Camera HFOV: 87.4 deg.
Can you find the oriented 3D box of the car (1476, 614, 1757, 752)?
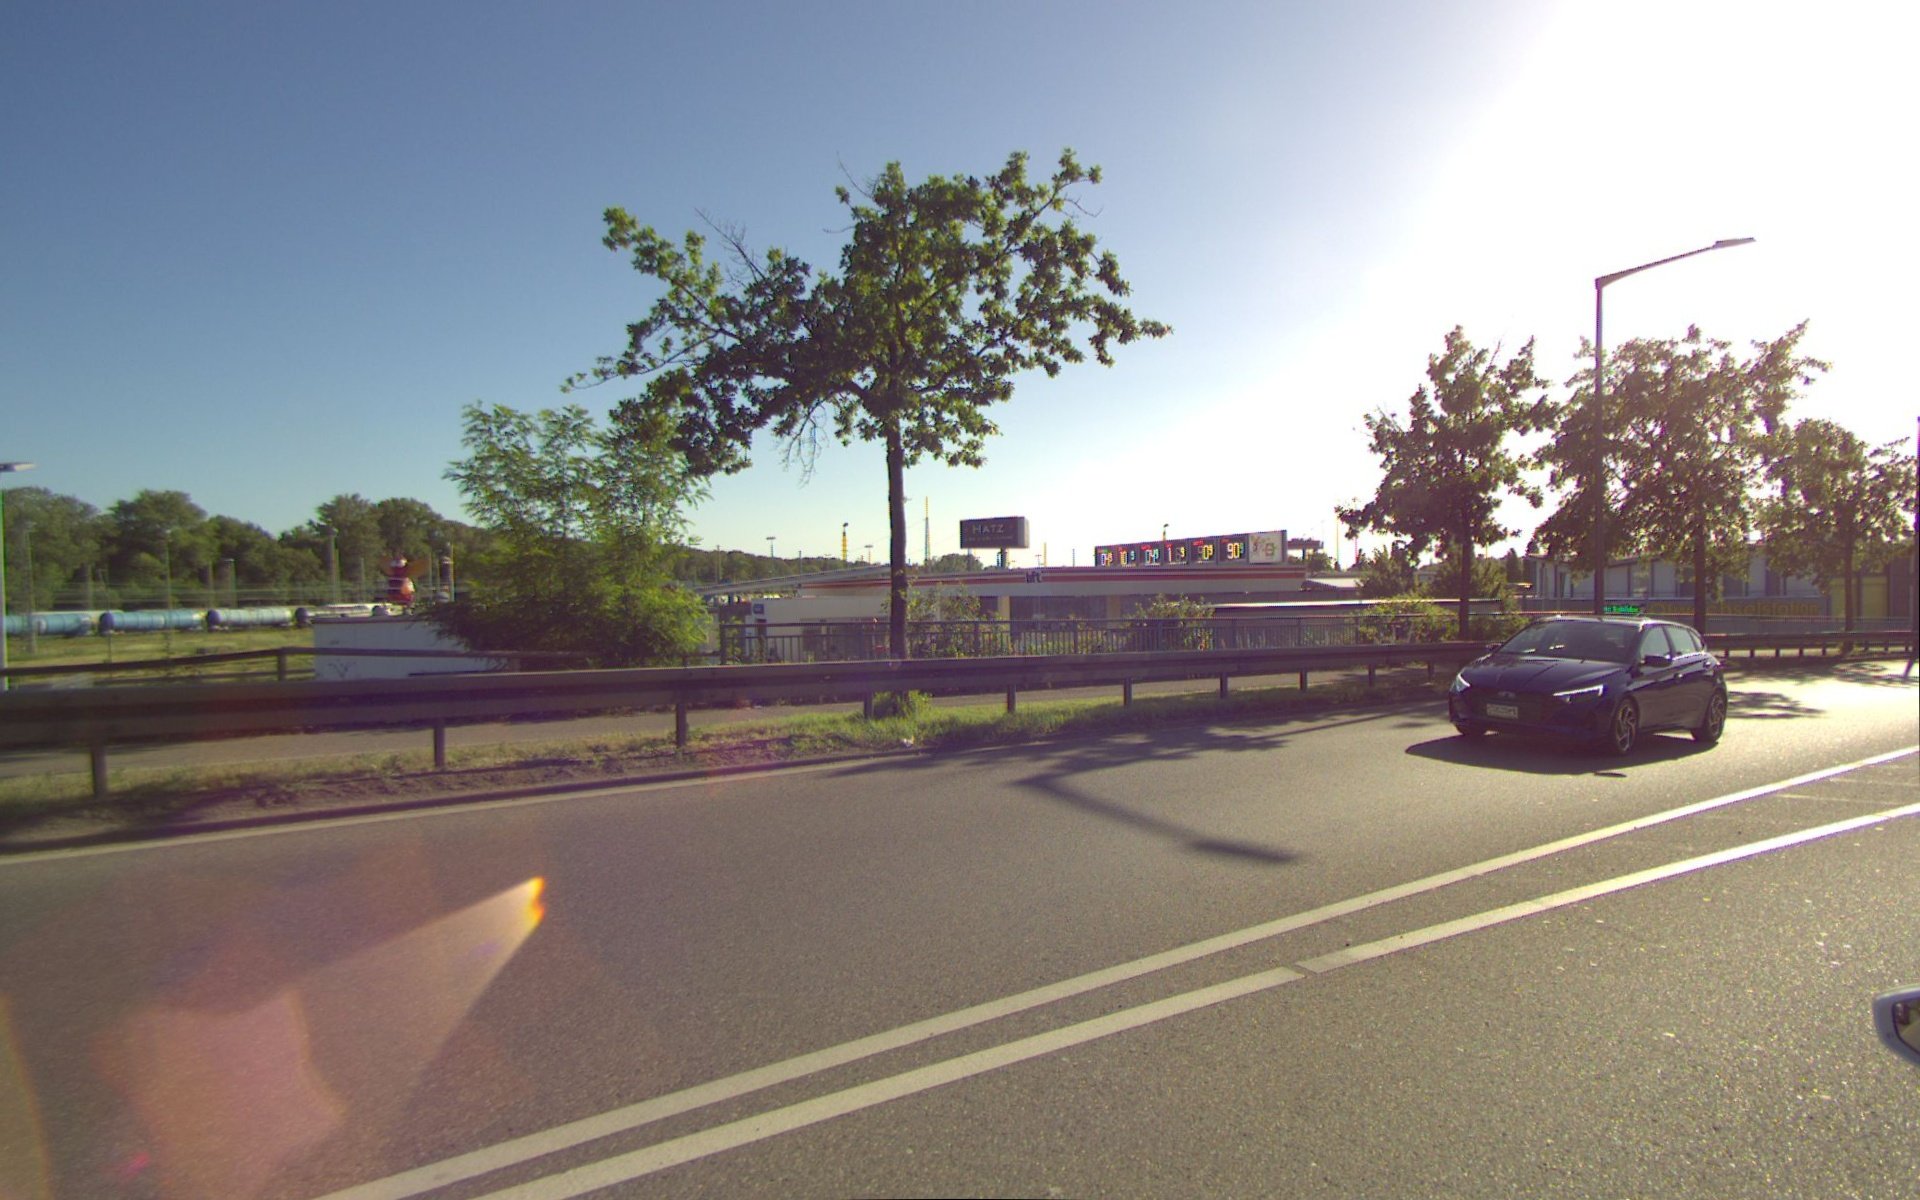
[{"bbox_3d":[8.254,0.925,12.540,3.810,1.465,1.654,1,0,-35],"label":"car"}]
